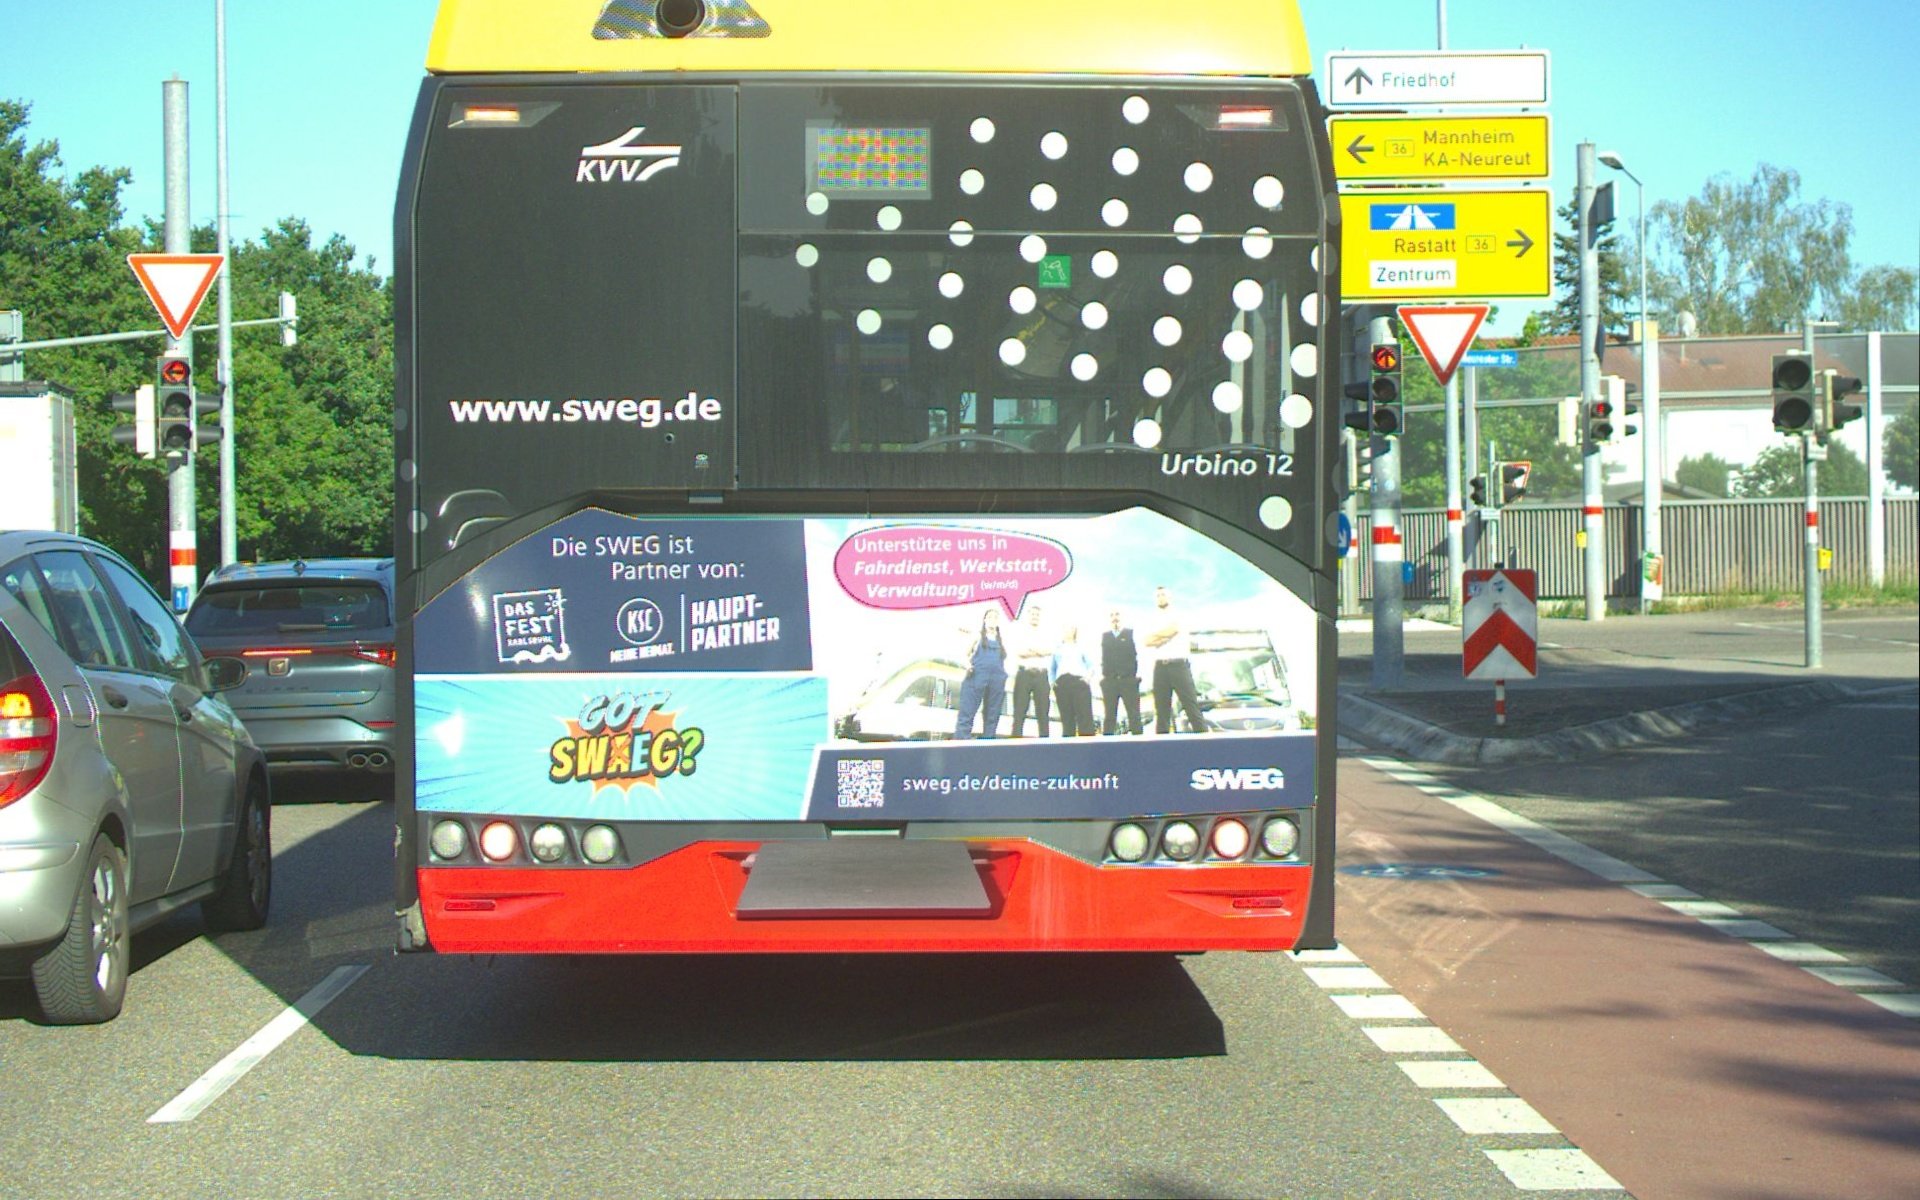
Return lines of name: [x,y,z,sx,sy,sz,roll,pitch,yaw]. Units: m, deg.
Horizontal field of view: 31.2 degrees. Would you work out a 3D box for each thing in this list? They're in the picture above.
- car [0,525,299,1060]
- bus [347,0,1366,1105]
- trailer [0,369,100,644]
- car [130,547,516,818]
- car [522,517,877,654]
car: [-3.602,0.563,12.197,1.761,1.584,4.000,-2,1,-1]
bus: [-0.290,-0.400,14.895,2.642,3.156,11.861,0,1,0]
trailer: [-20.534,-1.331,51.136,14.653,3.999,3.441,-1,1,-6]
car: [-3.810,0.433,21.128,1.692,1.453,3.751,-2,1,-1]
car: [-3.277,-0.191,43.105,4.066,1.521,1.769,-3,1,-19]
